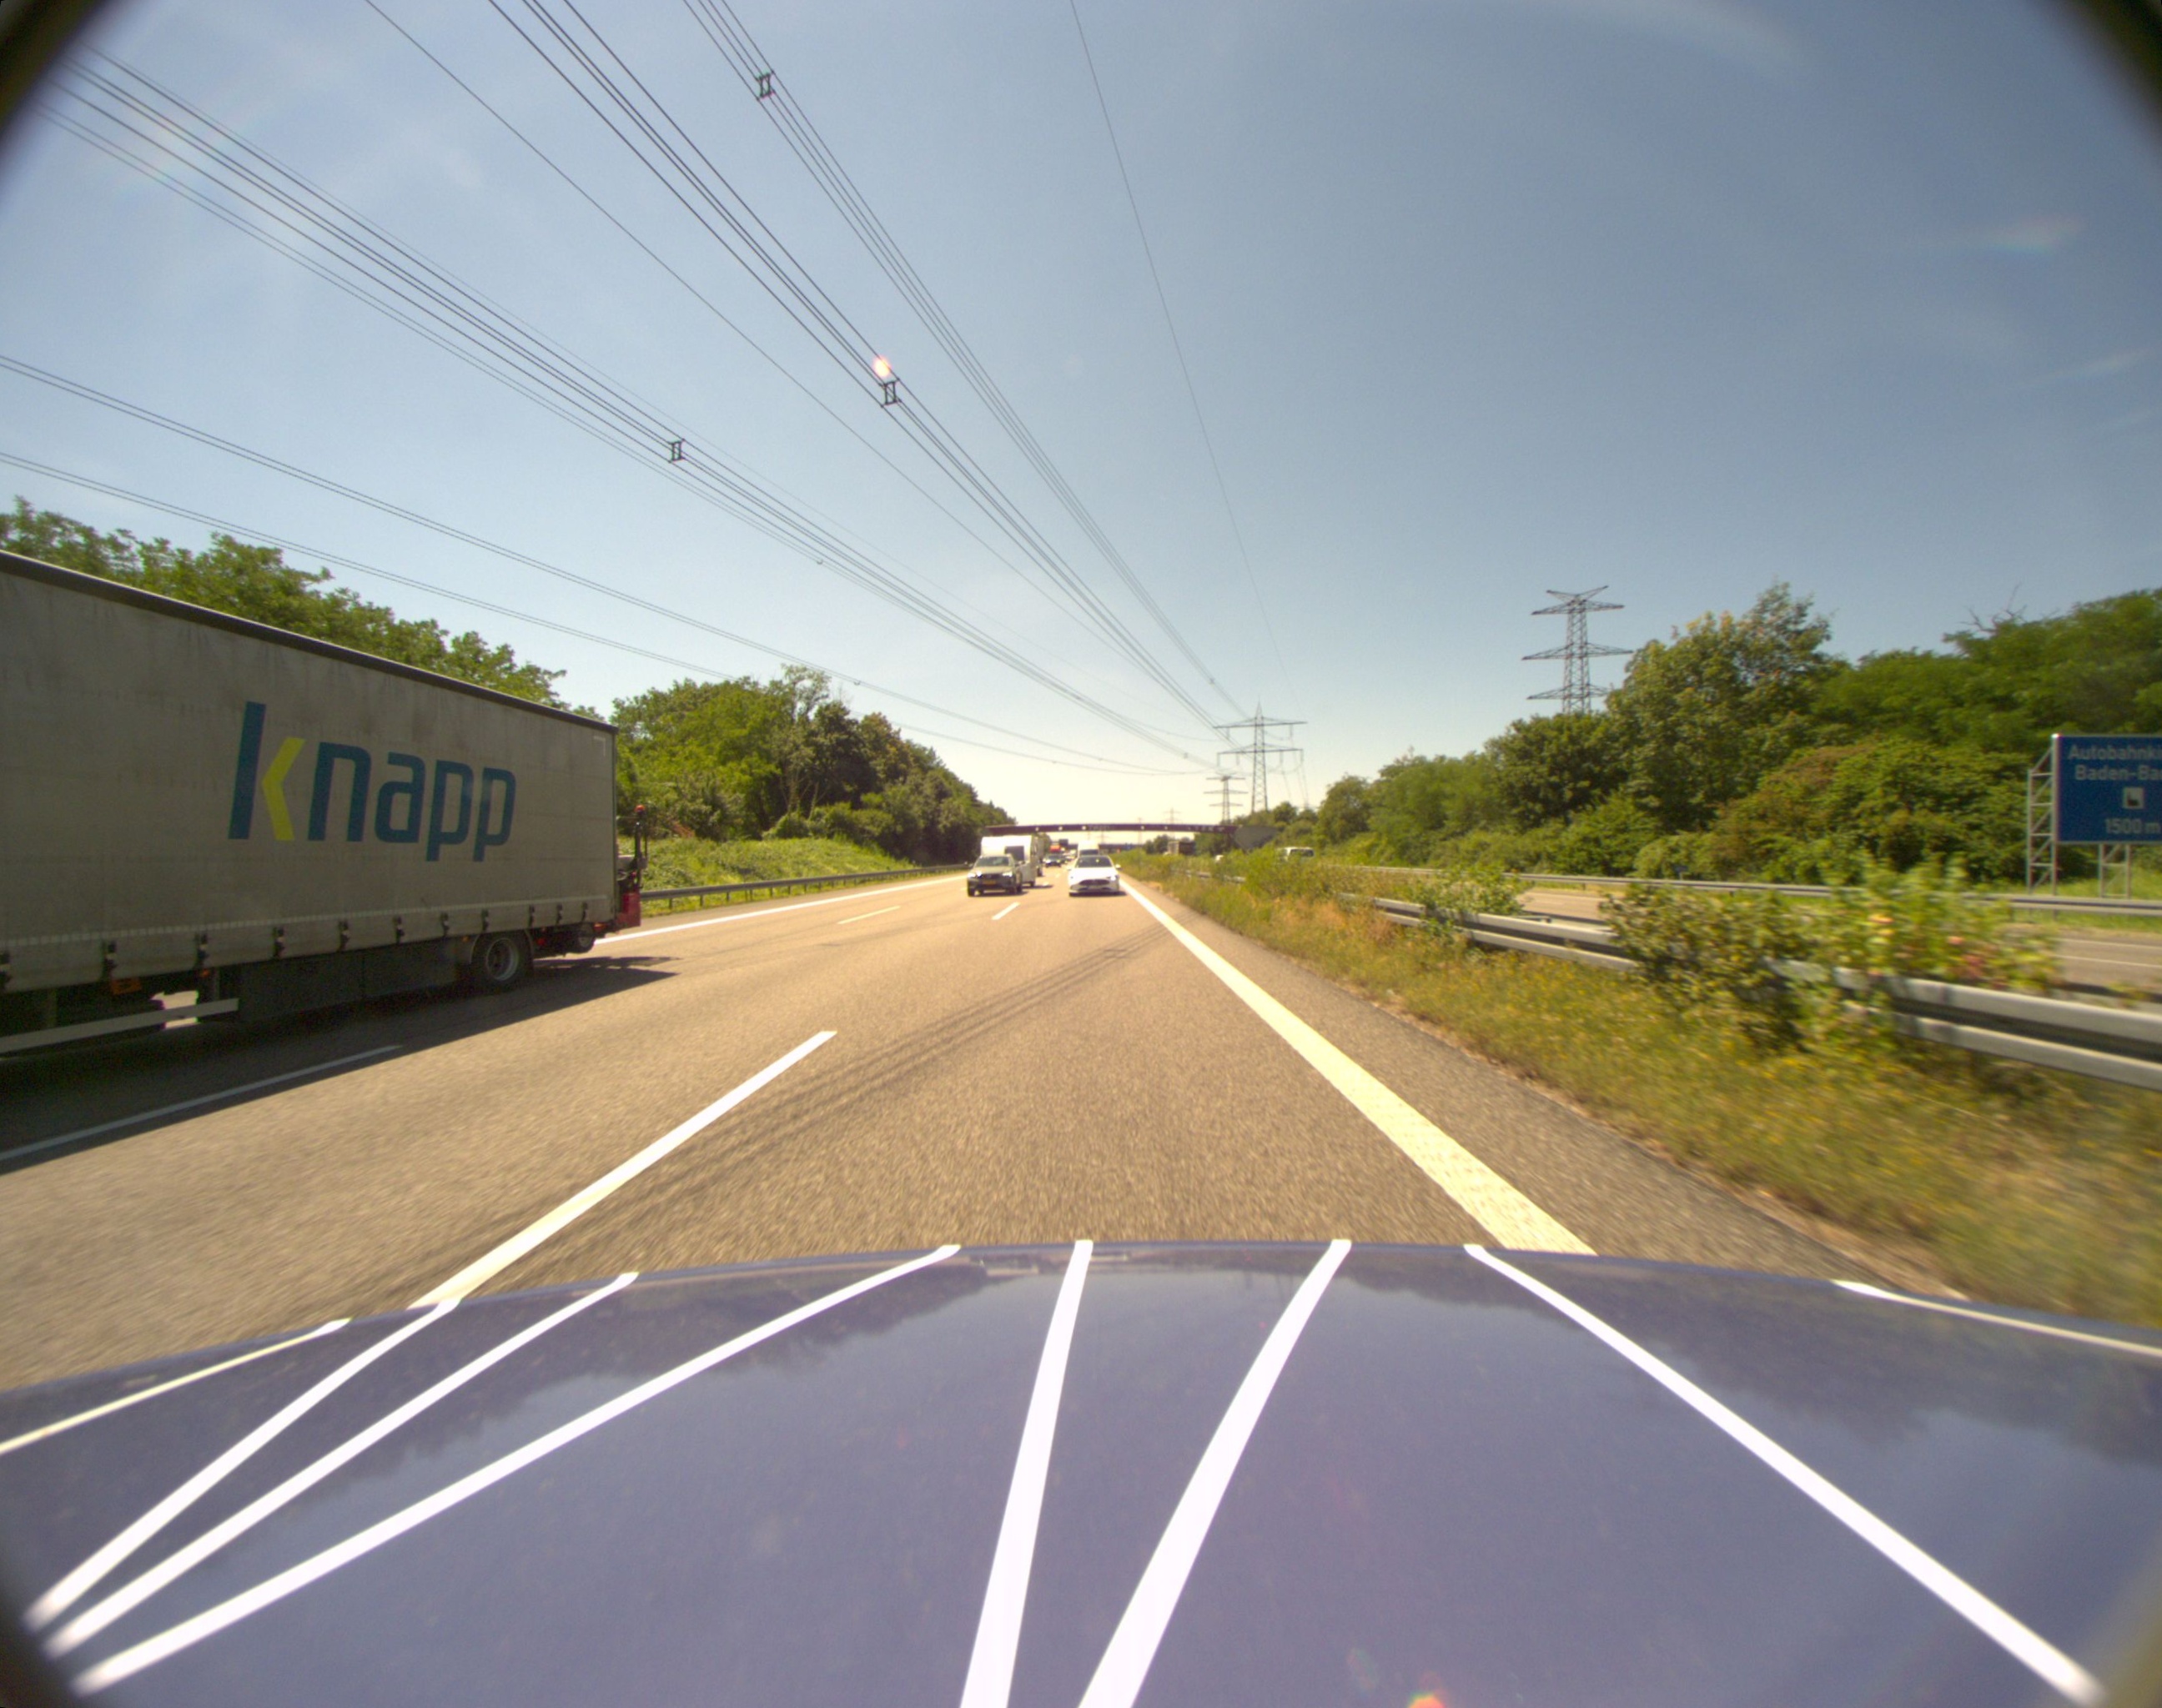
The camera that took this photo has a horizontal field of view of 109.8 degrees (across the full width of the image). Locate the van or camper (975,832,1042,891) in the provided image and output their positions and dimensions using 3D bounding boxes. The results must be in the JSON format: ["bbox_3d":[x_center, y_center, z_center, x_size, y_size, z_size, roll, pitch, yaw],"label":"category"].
[{"bbox_3d":[-3.290,0.301,36.127,2.411,2.483,6.432,-1,0,1],"label":"van or camper"}]

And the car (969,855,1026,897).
[{"bbox_3d":[-3.305,0.823,30.854,1.788,1.520,4.104,-1,0,1],"label":"car"}]

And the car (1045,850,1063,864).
[{"bbox_3d":[-3.271,0.362,93.351,1.904,1.662,4.000,-2,0,1],"label":"car"}]

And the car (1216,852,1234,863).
[{"bbox_3d":[19.473,0.451,102.704,1.717,1.493,3.737,1,0,1],"label":"car"}]

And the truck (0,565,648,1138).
[{"bbox_3d":[-8.039,-0.009,7.079,1.987,3.750,10.042,-2,0,1],"label":"truck"}]

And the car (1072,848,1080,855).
[{"bbox_3d":[-1.344,-0.648,198.582,1.998,2.002,4.000,-1,0,1],"label":"car"}]

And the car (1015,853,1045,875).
[{"bbox_3d":[-3.635,0.687,54.460,1.803,1.533,3.807,0,0,1],"label":"car"}]

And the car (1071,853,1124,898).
[{"bbox_3d":[0.601,0.754,28.456,1.788,1.462,4.000,-2,1,1],"label":"car"}]

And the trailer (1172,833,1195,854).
[{"bbox_3d":[19.295,-1.953,143.781,2.881,3.667,12.716,1,1,1],"label":"trailer"}]

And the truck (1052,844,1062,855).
[{"bbox_3d":[-6.563,-1.207,208.553,2.619,2.801,6.593,-1,0,1],"label":"truck"}]

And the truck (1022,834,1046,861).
[{"bbox_3d":[-6.608,-0.938,108.214,2.584,3.704,8.279,-2,1,1],"label":"truck"}]

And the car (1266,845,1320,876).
[{"bbox_3d":[14.060,0.399,50.732,1.999,1.921,5.413,1,0,0],"label":"car"}]

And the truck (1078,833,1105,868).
[{"bbox_3d":[0.913,-0.289,65.893,2.192,2.841,5.503,-3,0,1],"label":"truck"}]

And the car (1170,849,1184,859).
[{"bbox_3d":[15.663,-0.051,124.000,1.769,1.586,3.737,1,0,1],"label":"car"}]
